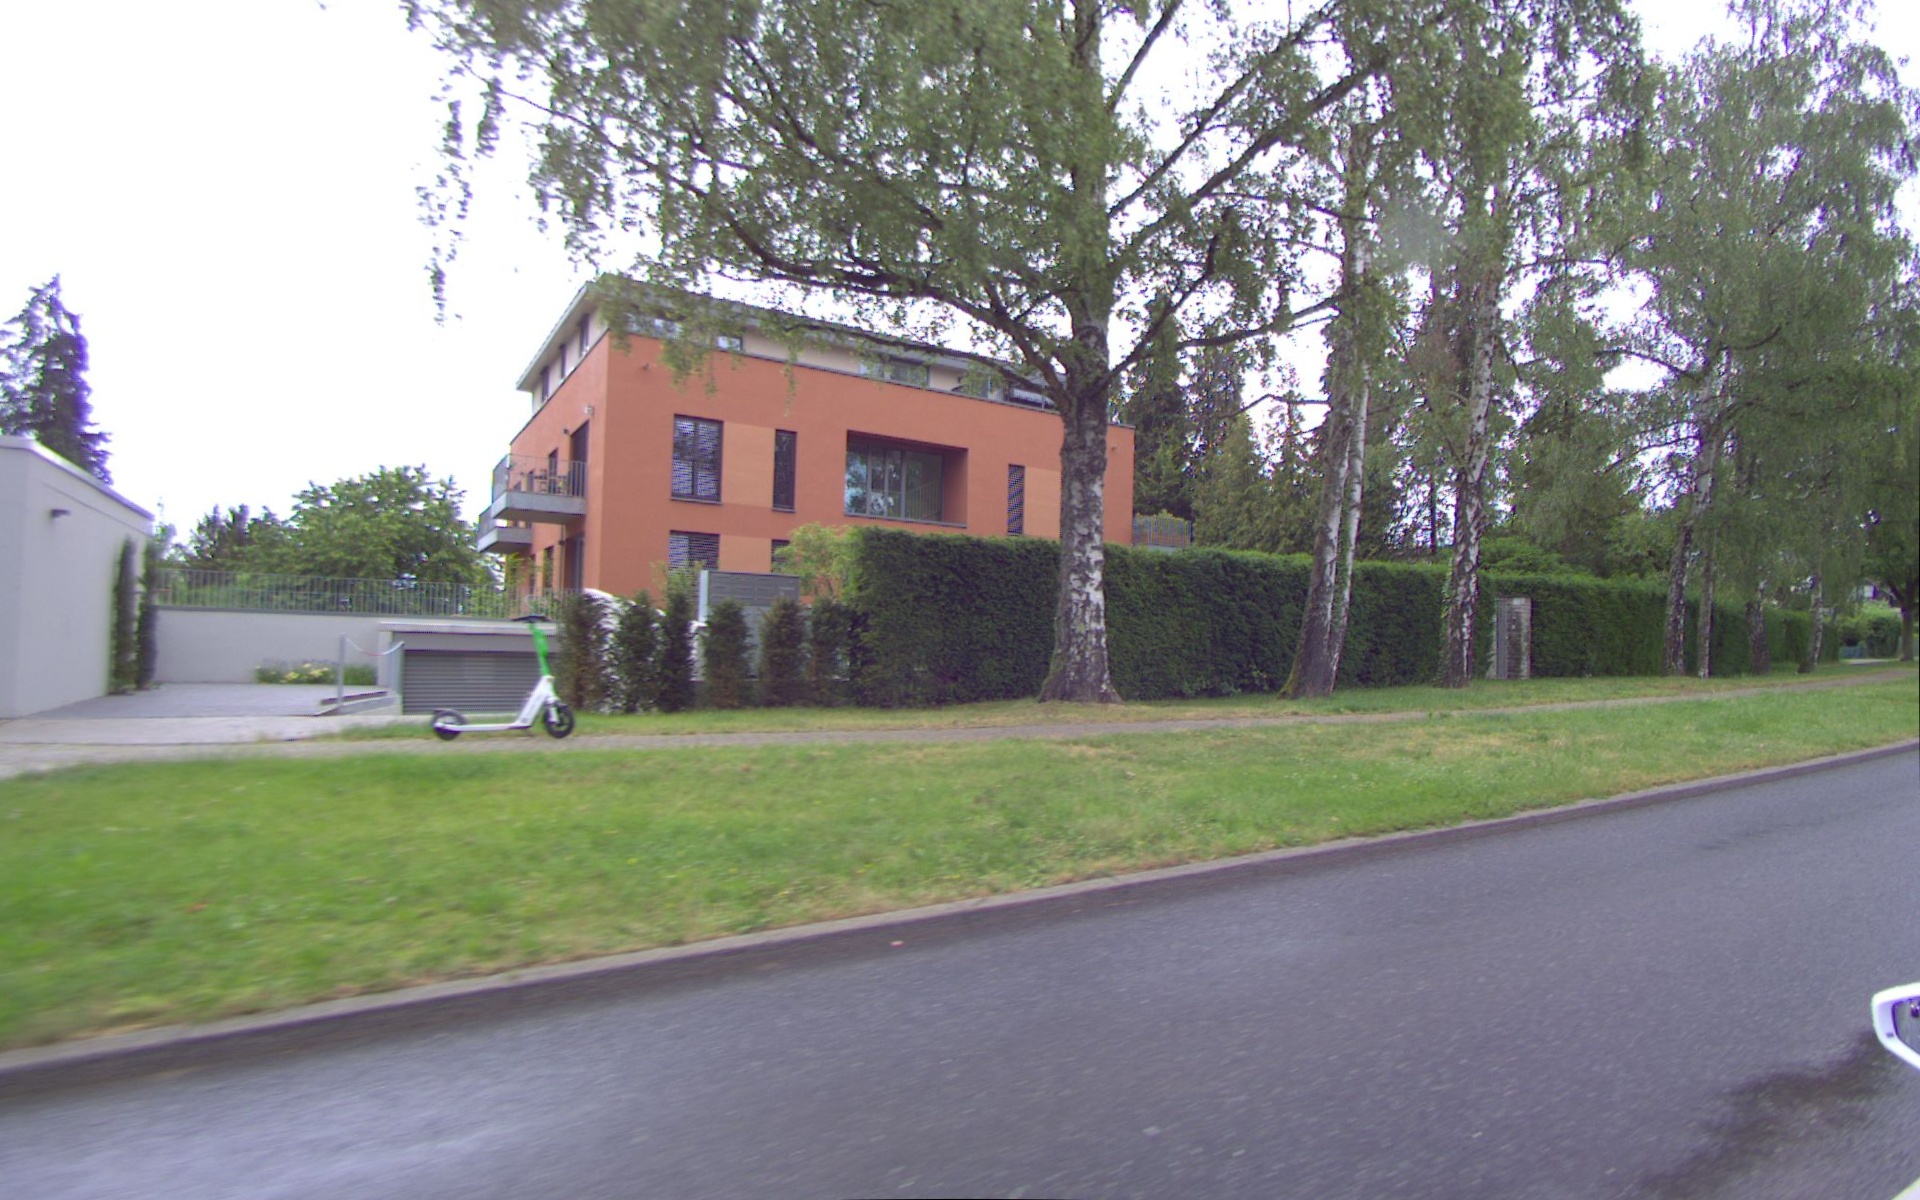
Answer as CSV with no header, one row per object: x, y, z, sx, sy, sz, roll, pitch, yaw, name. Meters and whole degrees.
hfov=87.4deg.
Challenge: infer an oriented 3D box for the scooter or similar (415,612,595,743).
-4.215,0.712,9.370,1.462,1.174,0.425,1,1,-7,scooter or similar
